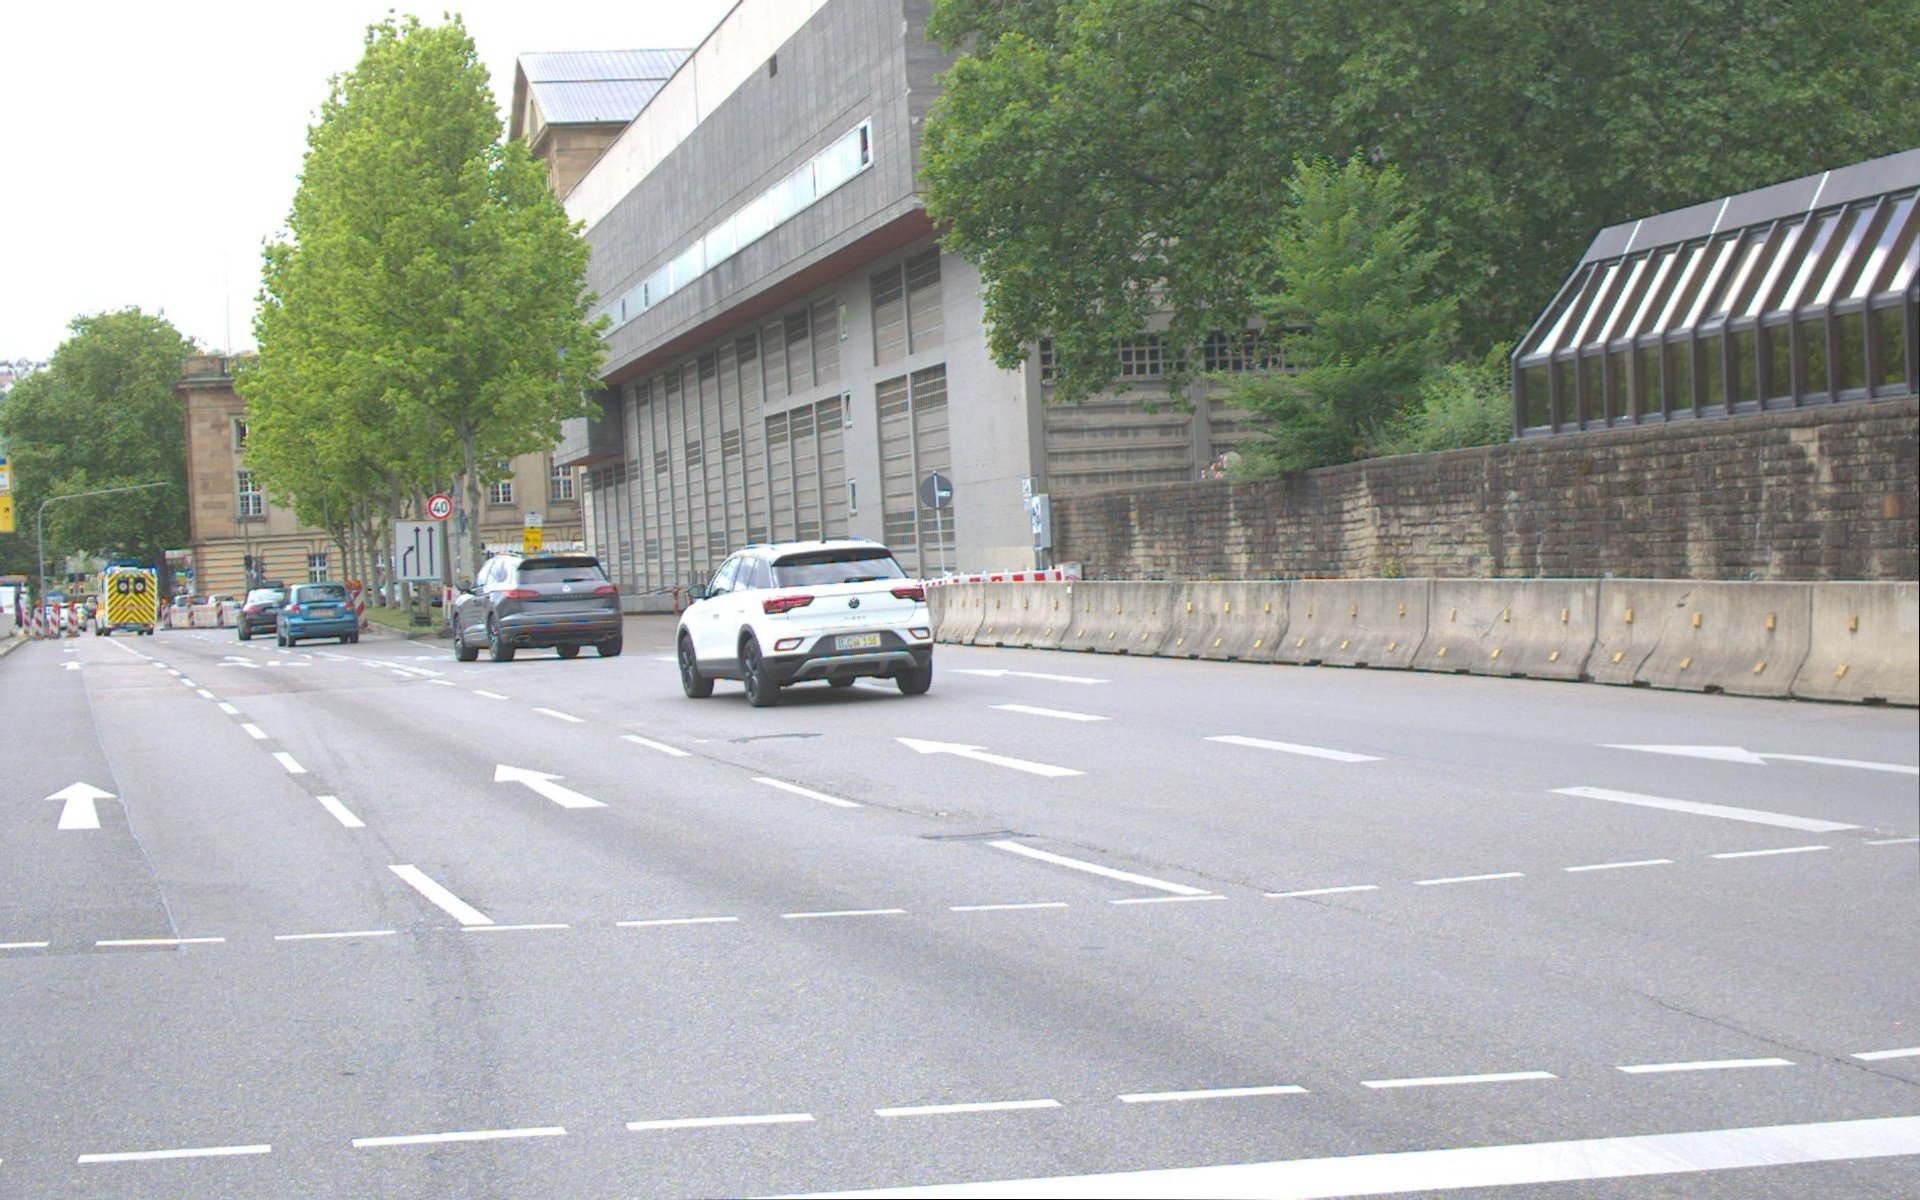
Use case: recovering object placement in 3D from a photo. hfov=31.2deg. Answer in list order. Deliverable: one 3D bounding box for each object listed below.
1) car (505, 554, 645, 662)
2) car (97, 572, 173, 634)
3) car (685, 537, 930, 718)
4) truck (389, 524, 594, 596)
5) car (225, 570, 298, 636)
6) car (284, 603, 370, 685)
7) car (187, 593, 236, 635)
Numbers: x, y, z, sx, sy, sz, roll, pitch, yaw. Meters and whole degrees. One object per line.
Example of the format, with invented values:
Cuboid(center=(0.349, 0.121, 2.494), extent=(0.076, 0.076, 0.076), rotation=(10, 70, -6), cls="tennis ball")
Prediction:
Cuboid(center=(-5.972, 0.143, 53.715), extent=(1.823, 1.562, 4.480), rotation=(-2, -1, -2), cls="car")
Cuboid(center=(-34.192, 0.109, 142.592), extent=(2.582, 2.366, 5.528), rotation=(-4, 1, -10), cls="car")
Cuboid(center=(-1.604, 0.213, 34.638), extent=(1.750, 1.562, 4.333), rotation=(-4, 2, -11), cls="car")
Cuboid(center=(-24.006, -2.054, 176.092), extent=(10.027, 3.040, 2.569), rotation=(-4, -1, -13), cls="truck")
Cuboid(center=(-20.114, 0.076, 99.104), extent=(1.823, 1.734, 4.481), rotation=(-4, 1, -10), cls="car")
Cuboid(center=(-14.882, 1.009, 81.001), extent=(1.823, 1.734, 4.481), rotation=(-4, 1, -10), cls="car")
Cuboid(center=(-33.687, 0.629, 154.825), extent=(1.823, 1.734, 4.481), rotation=(-4, 1, -10), cls="car")
